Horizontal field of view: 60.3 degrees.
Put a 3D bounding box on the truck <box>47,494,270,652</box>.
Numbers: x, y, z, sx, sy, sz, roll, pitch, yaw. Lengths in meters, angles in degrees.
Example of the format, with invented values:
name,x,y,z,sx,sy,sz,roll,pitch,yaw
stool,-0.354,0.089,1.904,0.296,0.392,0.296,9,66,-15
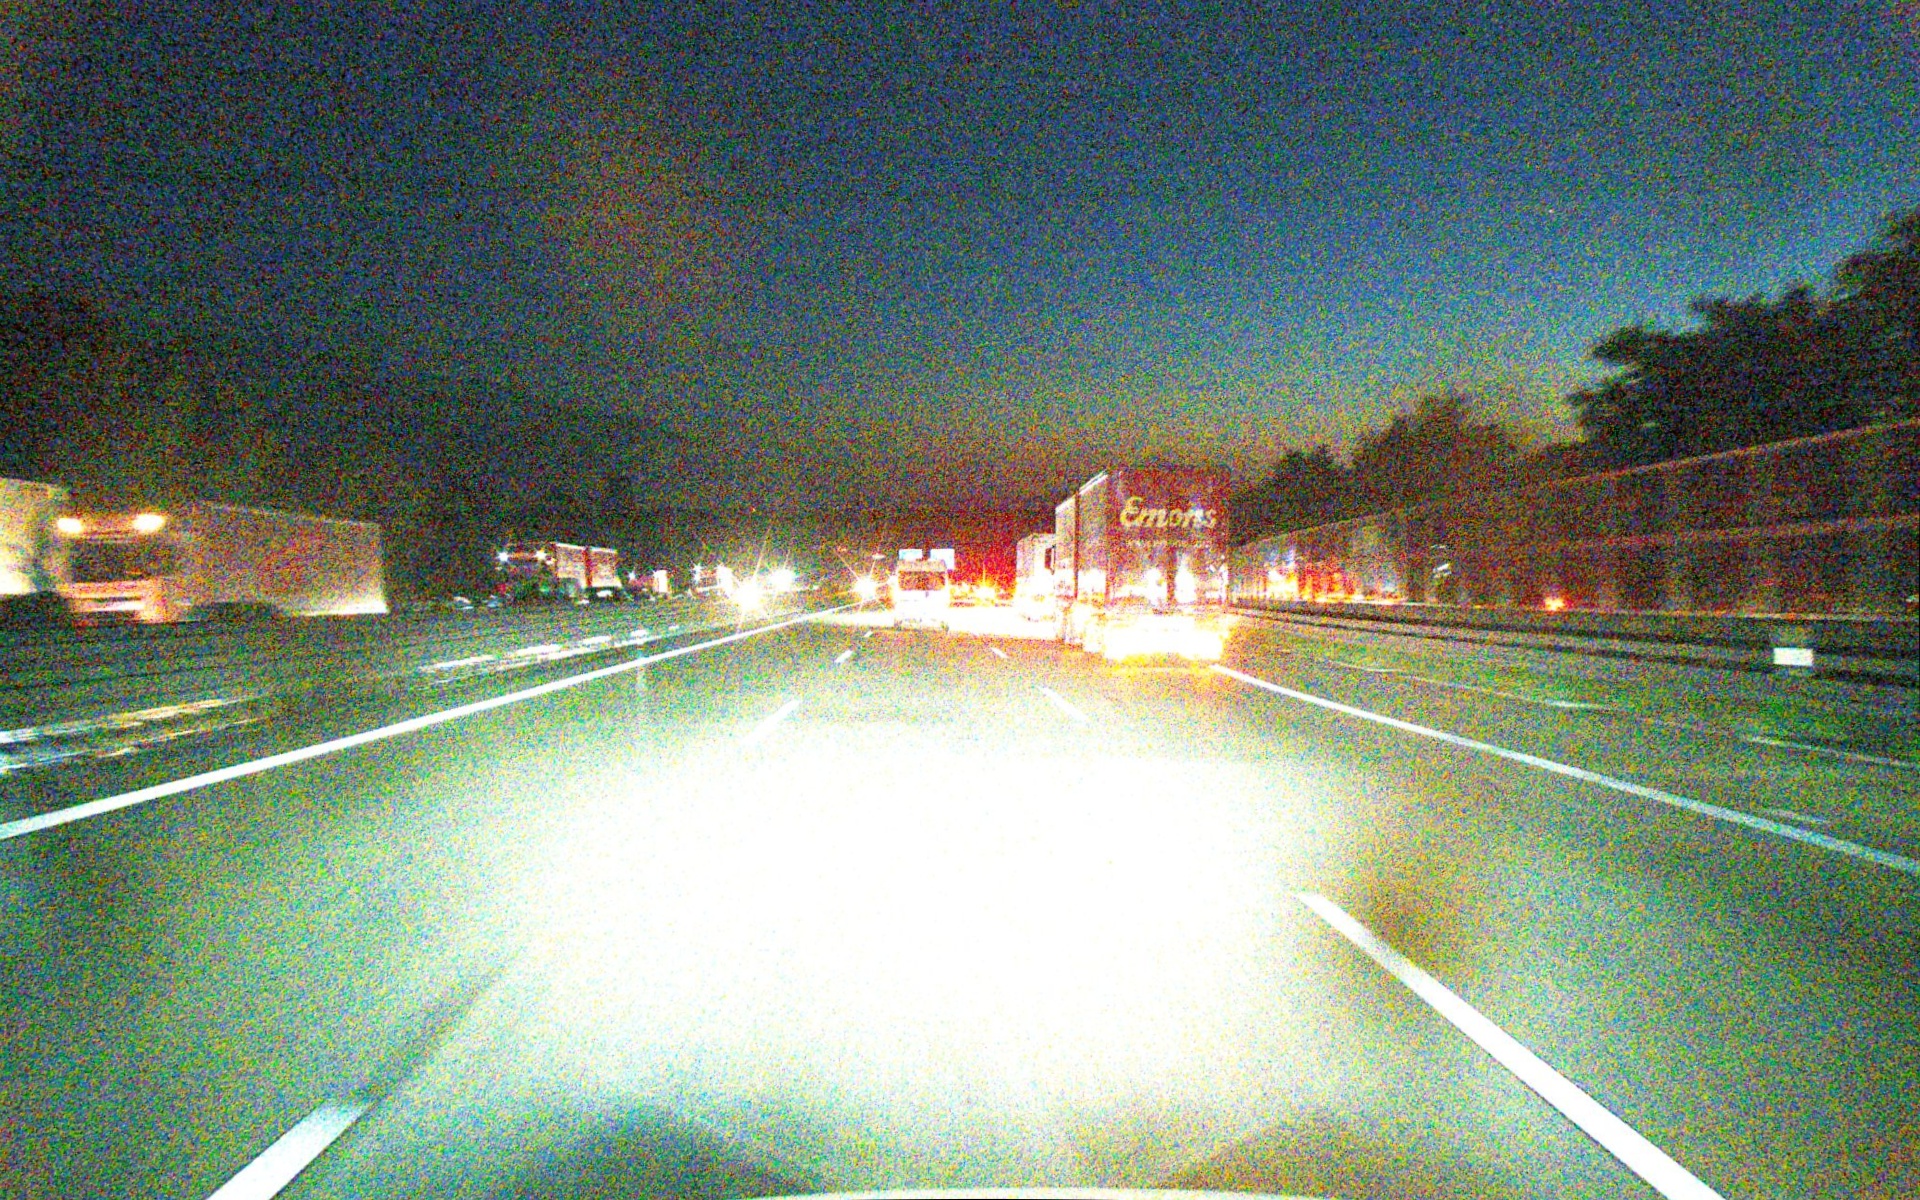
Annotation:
name,x,y,z,sx,sy,sz,roll,pitch,yaw
truck,-20.261,-0.666,42.260,2.816,3.737,6.050,0,0,-1

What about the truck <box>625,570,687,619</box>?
name,x,y,z,sx,sy,sz,roll,pitch,yaw
truck,-26.026,-0.394,142.288,2.827,3.917,15.063,1,-1,-1

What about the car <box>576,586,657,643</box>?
name,x,y,z,sx,sy,sz,roll,pitch,yaw
car,-12.955,0.572,62.749,1.953,2.049,5.324,1,-1,0

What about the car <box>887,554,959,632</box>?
name,x,y,z,sx,sy,sz,roll,pitch,yaw
car,-1.289,-0.203,60.594,2.288,2.686,5.248,-1,-1,2

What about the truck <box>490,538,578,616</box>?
name,x,y,z,sx,sy,sz,roll,pitch,yaw
truck,-21.544,-1.077,83.950,2.802,3.752,6.600,1,-1,-1

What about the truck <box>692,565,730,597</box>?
name,x,y,z,sx,sy,sz,roll,pitch,yaw
truck,-27.516,-2.097,183.040,3.104,3.278,7.446,1,-1,-1

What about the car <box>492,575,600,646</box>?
name,x,y,z,sx,sy,sz,roll,pitch,yaw
car,-12.689,0.356,51.063,1.953,2.049,5.324,1,-1,0

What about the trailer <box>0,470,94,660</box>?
name,x,y,z,sx,sy,sz,roll,pitch,yaw
trailer,-20.164,-0.664,28.475,2.827,3.735,15.234,0,0,-1

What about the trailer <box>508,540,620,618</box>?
name,x,y,z,sx,sy,sz,roll,pitch,yaw
trailer,-21.762,-0.994,91.989,2.827,3.917,15.063,1,-1,-1

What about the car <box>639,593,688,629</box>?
name,x,y,z,sx,sy,sz,roll,pitch,yaw
car,-17.594,0.690,98.260,1.953,2.049,5.323,1,-1,-1

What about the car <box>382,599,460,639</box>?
name,x,y,z,sx,sy,sz,roll,pitch,yaw
car,-24.642,0.882,75.759,1.953,1.714,5.322,1,-1,-2

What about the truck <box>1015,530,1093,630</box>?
name,x,y,z,sx,sy,sz,roll,pitch,yaw
truck,4.497,-0.955,82.089,3.275,4.554,13.911,0,0,1

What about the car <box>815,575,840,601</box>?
name,x,y,z,sx,sy,sz,roll,pitch,yaw
car,-10.850,-0.975,135.742,1.955,2.049,3.995,1,-1,-6

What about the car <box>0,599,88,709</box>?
name,x,y,z,sx,sy,sz,roll,pitch,yaw
car,-16.049,0.835,26.629,1.955,1.716,4.501,1,-1,-6

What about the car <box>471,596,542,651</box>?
name,x,y,z,sx,sy,sz,roll,pitch,yaw
car,-17.519,0.908,64.067,1.955,2.049,3.995,1,-1,-6

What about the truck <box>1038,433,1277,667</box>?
name,x,y,z,sx,sy,sz,roll,pitch,yaw
truck,4.497,-1.084,43.984,3.835,4.708,21.018,0,0,0

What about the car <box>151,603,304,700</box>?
name,x,y,z,sx,sy,sz,roll,pitch,yaw
car,-16.570,1.139,37.626,1.955,2.049,3.995,1,-1,-6

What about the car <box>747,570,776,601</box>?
name,x,y,z,sx,sy,sz,roll,pitch,yaw
car,-14.075,-1.015,117.484,1.955,2.049,3.995,1,-1,-6

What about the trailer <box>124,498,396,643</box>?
name,x,y,z,sx,sy,sz,roll,pitch,yaw
trailer,-20.465,-0.676,49.643,2.827,3.736,13.043,1,-1,-1
